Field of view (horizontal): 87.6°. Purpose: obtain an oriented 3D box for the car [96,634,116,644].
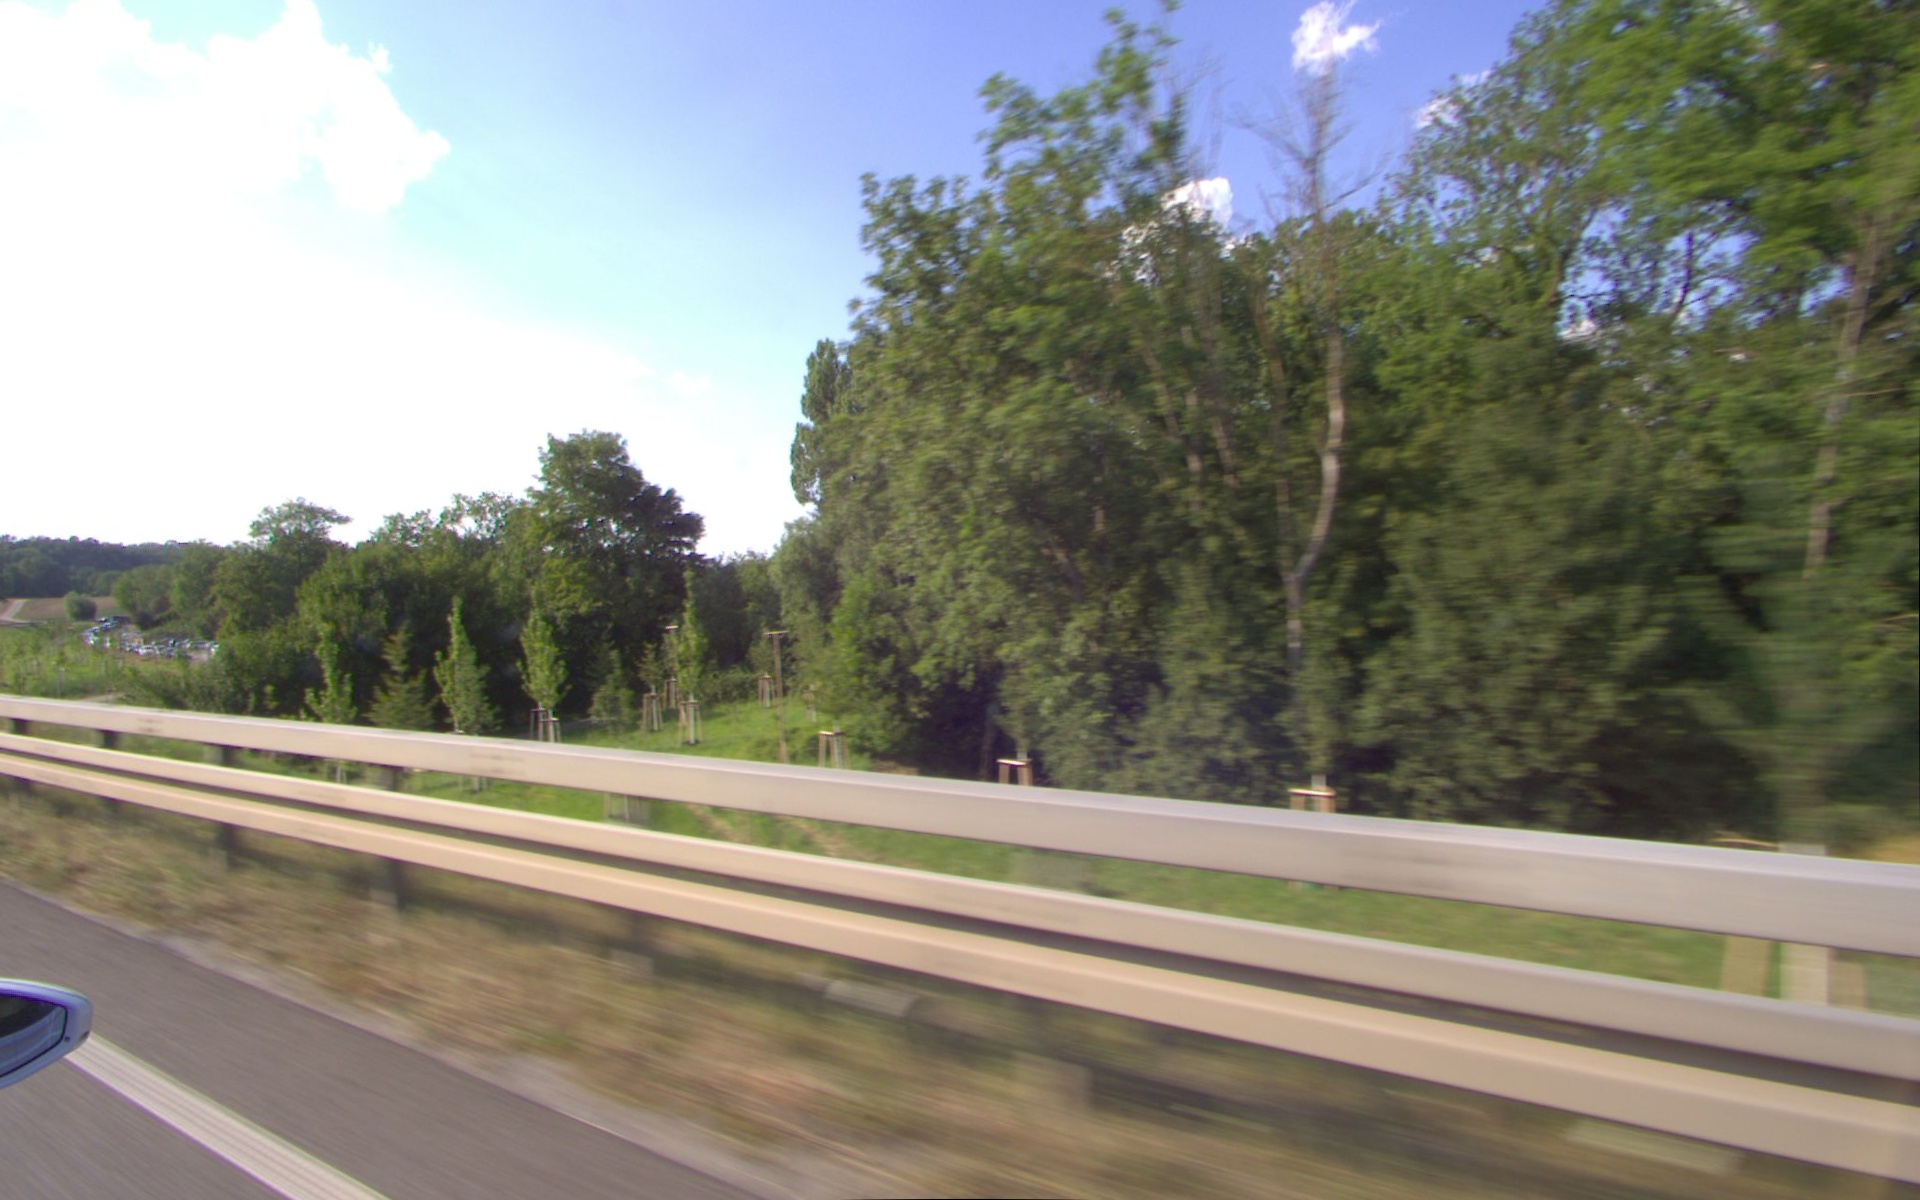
[{"bbox_3d":[-153.580,6.955,179.984,4.724,1.503,1.882,1,4,40],"label":"car"}]
